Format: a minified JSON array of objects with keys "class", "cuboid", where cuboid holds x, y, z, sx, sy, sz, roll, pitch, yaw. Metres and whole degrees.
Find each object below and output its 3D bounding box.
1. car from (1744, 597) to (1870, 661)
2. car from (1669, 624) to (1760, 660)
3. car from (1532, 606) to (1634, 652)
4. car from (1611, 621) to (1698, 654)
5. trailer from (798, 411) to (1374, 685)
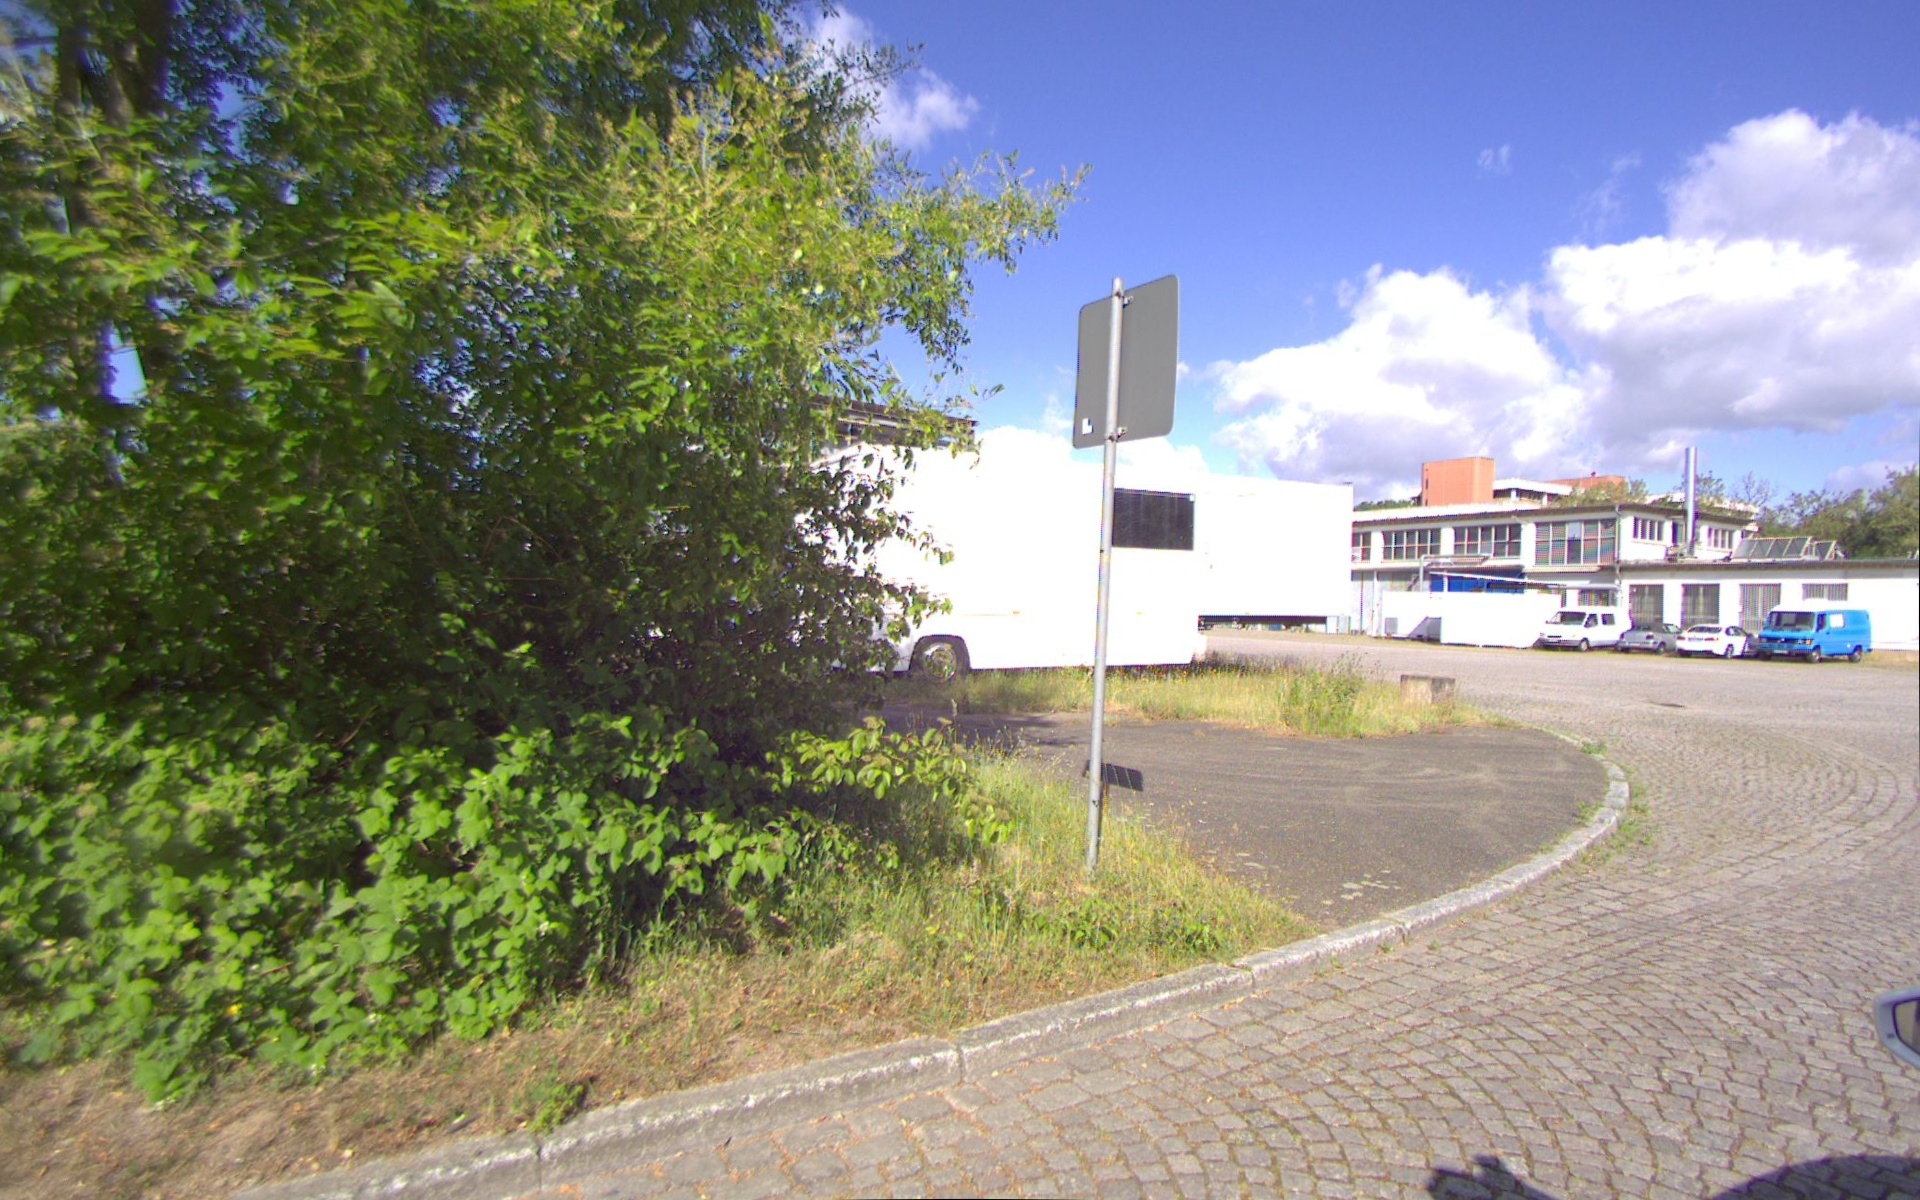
[{"class":"car","cuboid":[34.647,1.187,41.059,5.171,2.516,2.075,2,0,-27]},{"class":"car","cuboid":[32.214,1.757,42.887,3.691,1.424,1.726,0,0,-27]},{"class":"car","cuboid":[29.815,1.398,48.077,4.743,2.109,1.996,2,0,-27]},{"class":"car","cuboid":[31.691,1.699,45.803,3.783,1.417,1.680,2,0,-27]},{"class":"trailer","cuboid":[2.665,-0.616,18.262,10.750,3.963,2.761,2,0,-28]}]
